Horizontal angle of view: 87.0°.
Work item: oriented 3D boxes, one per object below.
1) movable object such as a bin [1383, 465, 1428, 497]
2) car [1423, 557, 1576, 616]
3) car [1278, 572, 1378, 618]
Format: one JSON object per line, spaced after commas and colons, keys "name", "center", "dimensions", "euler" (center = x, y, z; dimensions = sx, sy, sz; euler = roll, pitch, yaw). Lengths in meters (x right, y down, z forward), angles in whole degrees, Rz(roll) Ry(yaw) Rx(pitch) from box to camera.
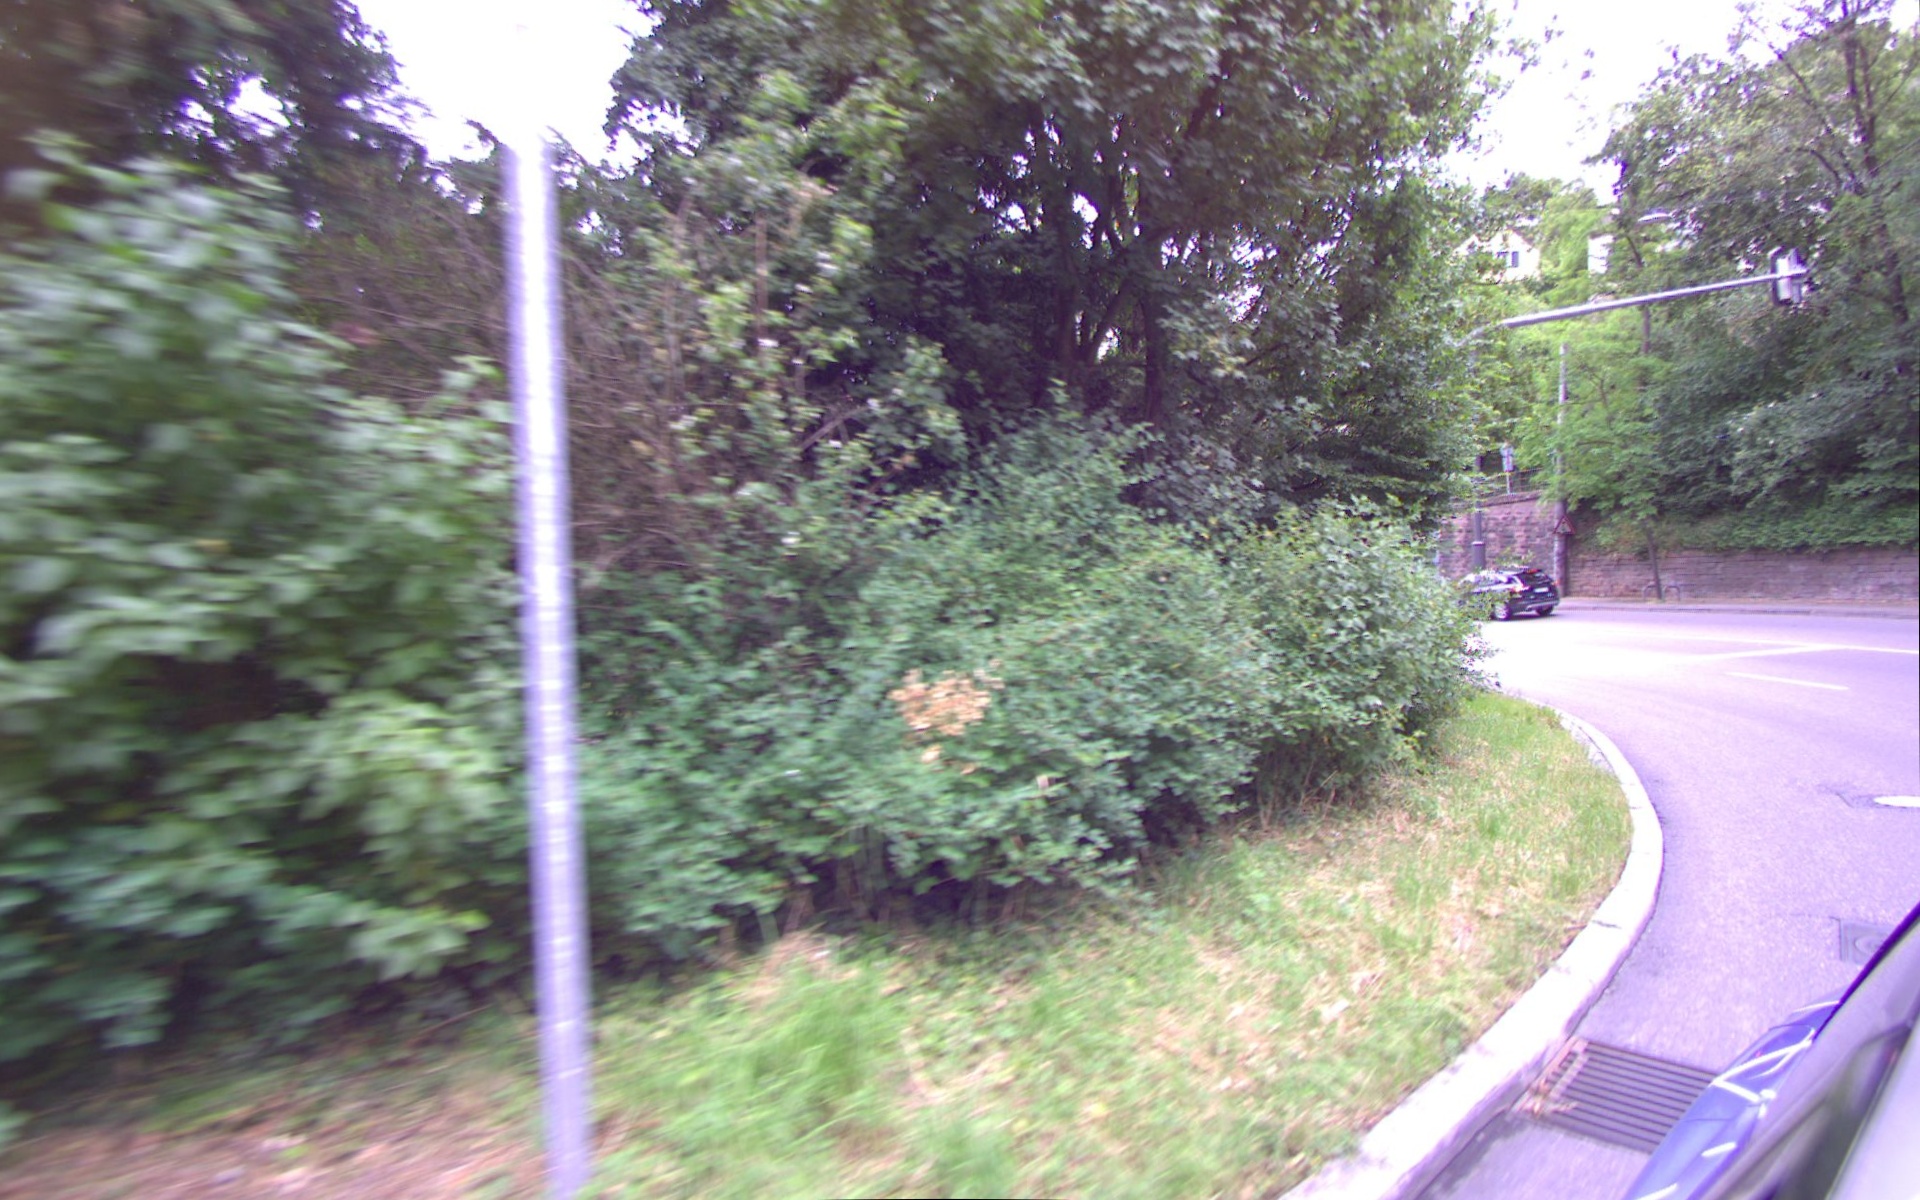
{"name": "movable object such as a bin", "center": [23.419, -6.246, 53.228], "dimensions": [1.229, 1.372, 1.605], "euler": [-6, 0, -32]}
{"name": "car", "center": [18.038, -0.414, 34.113], "dimensions": [1.725, 1.644, 4.658], "euler": [-7, 1, -14]}
{"name": "car", "center": [15.280, -0.181, 42.142], "dimensions": [1.483, 1.543, 3.662], "euler": [-9, 2, -30]}
